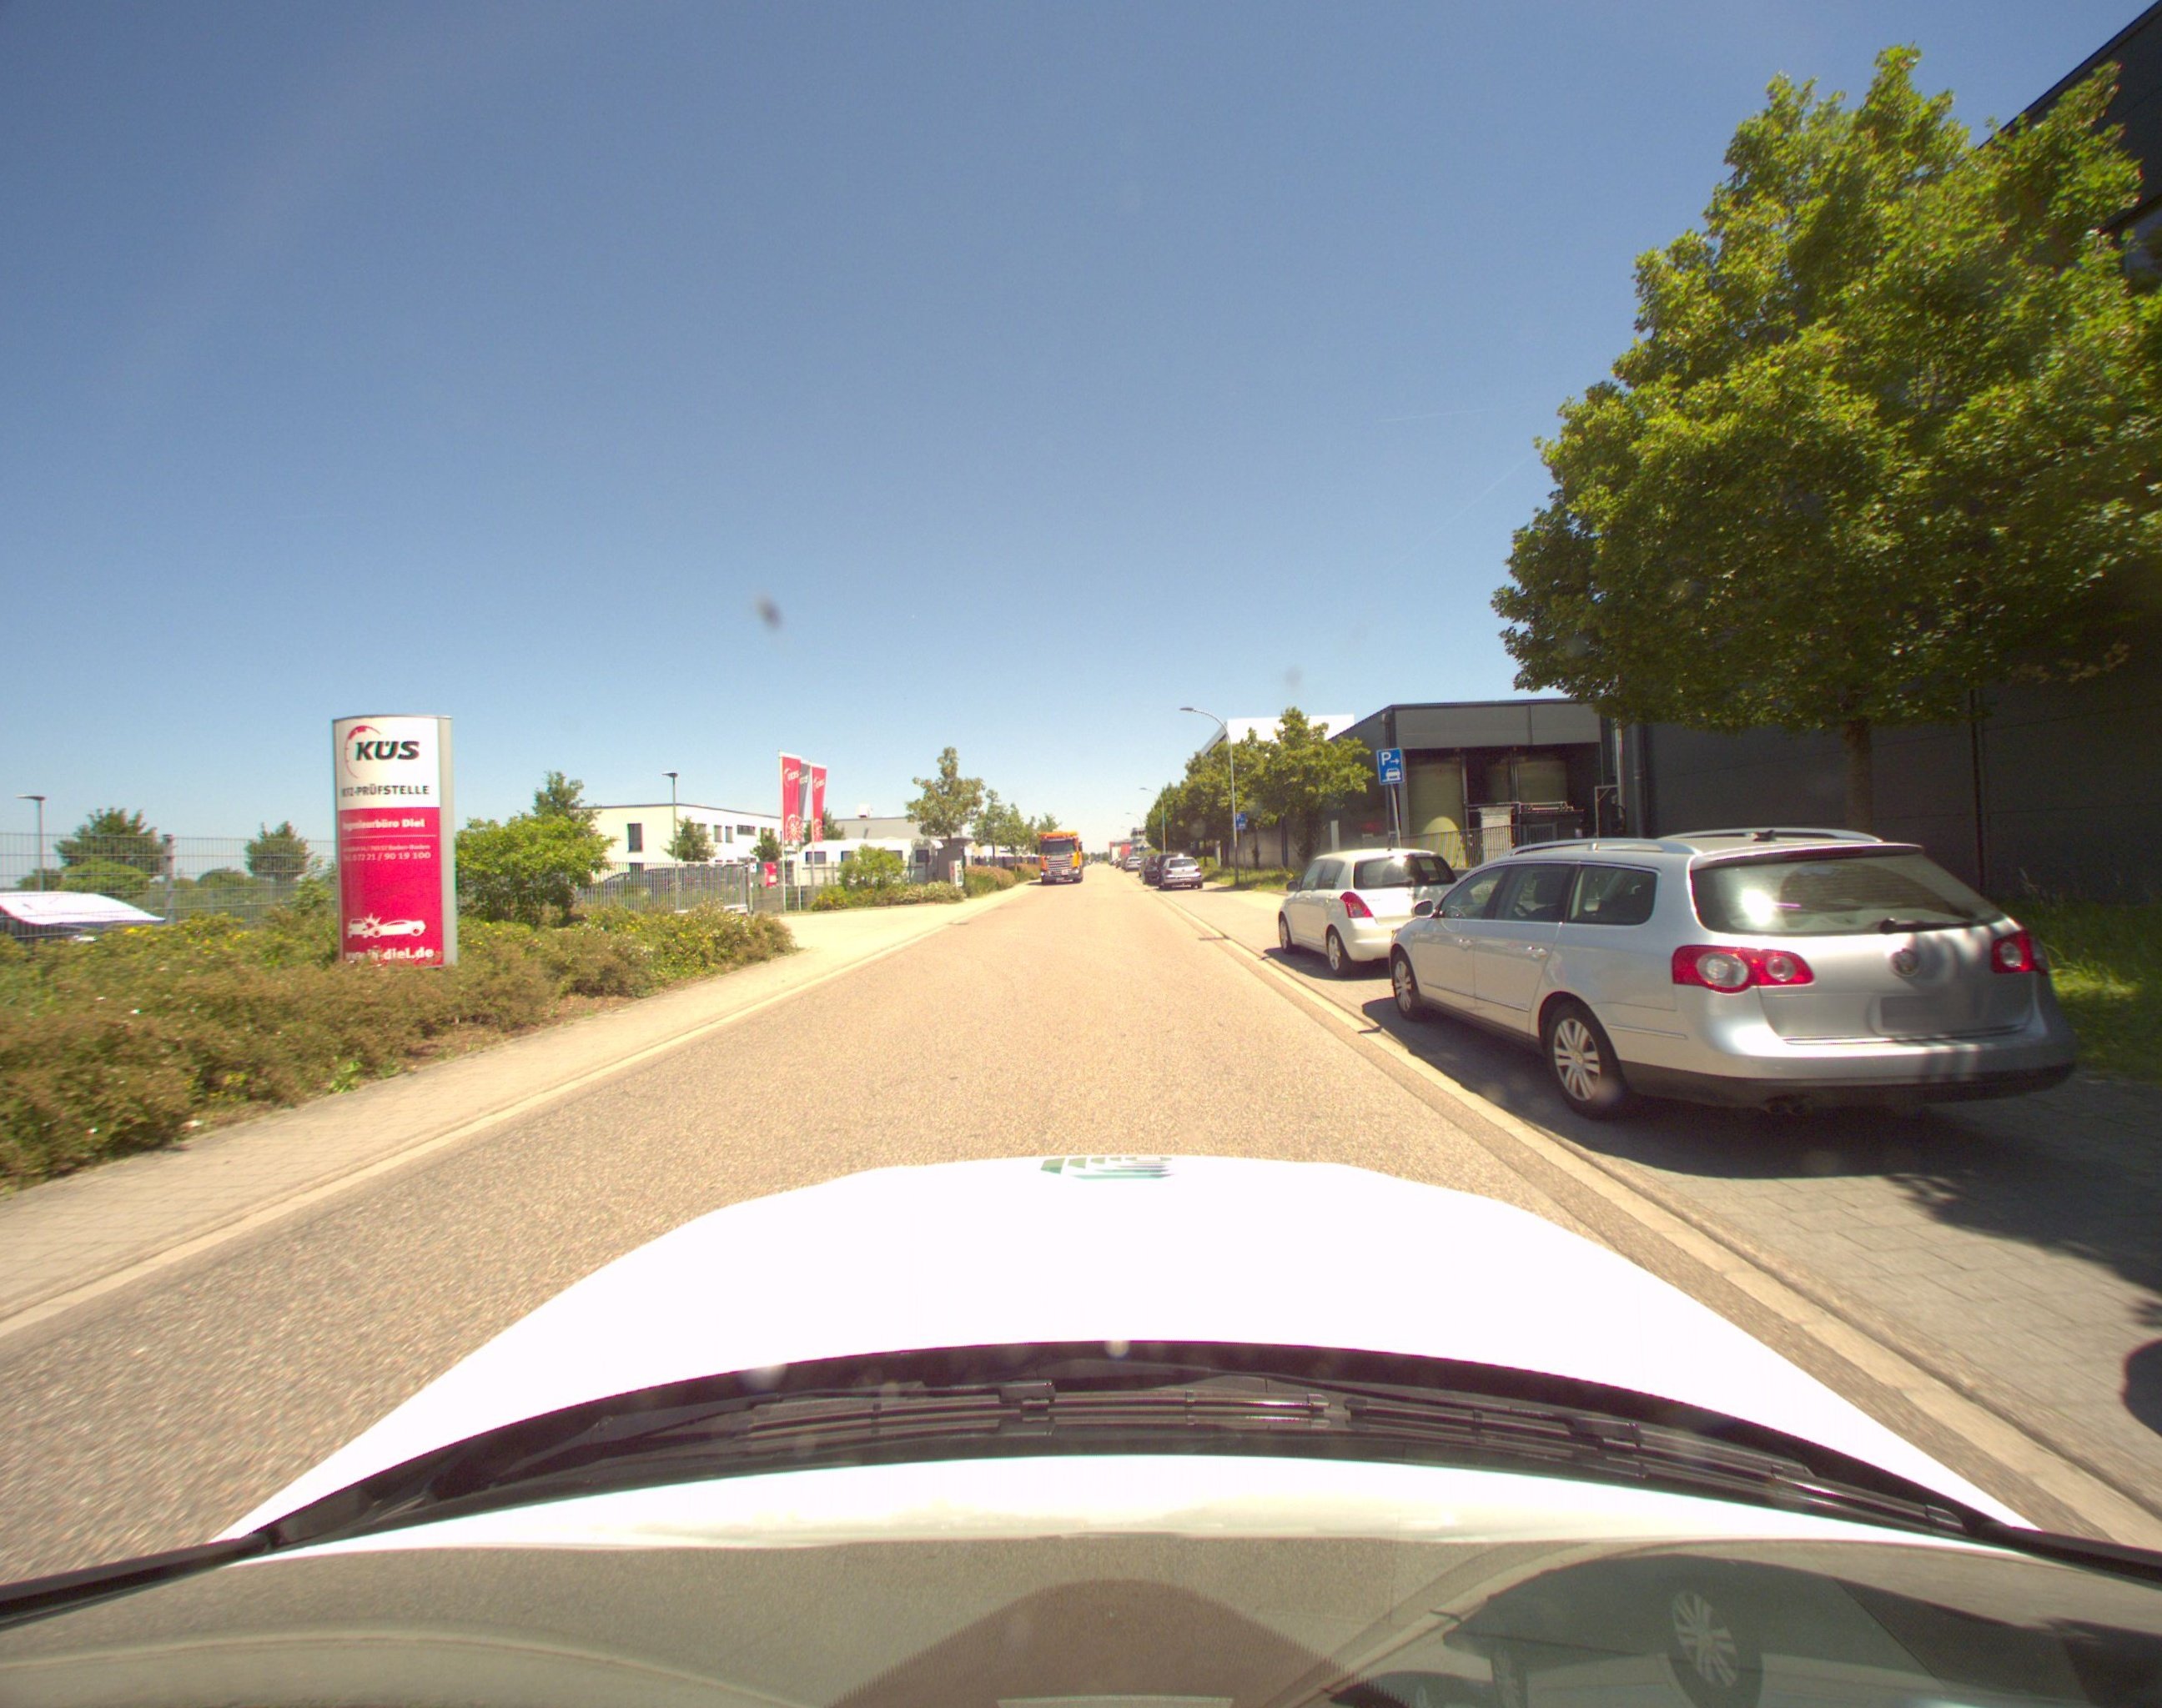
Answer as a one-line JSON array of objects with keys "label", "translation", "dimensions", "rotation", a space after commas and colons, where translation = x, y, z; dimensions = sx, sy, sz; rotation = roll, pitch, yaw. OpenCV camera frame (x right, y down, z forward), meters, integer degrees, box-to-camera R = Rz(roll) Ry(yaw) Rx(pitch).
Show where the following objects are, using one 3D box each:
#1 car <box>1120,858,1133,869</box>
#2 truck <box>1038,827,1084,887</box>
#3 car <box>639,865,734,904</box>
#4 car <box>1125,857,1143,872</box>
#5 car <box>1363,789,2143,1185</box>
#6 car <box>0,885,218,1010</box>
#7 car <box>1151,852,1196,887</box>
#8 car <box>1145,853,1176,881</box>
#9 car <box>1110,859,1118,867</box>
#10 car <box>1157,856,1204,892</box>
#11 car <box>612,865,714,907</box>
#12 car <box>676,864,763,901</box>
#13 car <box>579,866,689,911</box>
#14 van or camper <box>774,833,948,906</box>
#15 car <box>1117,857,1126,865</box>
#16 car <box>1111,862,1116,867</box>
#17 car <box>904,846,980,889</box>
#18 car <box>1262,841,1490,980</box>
[{"label": "car", "translation": [5.982, 1.223, 106.891], "dimensions": [1.490, 1.409, 3.501], "rotation": [-3, 0, 1]}, {"label": "truck", "translation": [-1.234, 0.164, 54.357], "dimensions": [2.440, 3.513, 8.275], "rotation": [-4, 0, 1]}, {"label": "car", "translation": [-20.716, 1.591, 42.896], "dimensions": [3.973, 1.816, 1.917], "rotation": [-3, 0, 0]}, {"label": "car", "translation": [5.436, 1.099, 83.717], "dimensions": [1.579, 1.409, 3.501], "rotation": [-3, 0, 1]}, {"label": "car", "translation": [3.574, 0.582, 5.655], "dimensions": [1.741, 1.562, 4.508], "rotation": [-3, -1, 2]}, {"label": "car", "translation": [-14.960, 1.322, 11.587], "dimensions": [3.493, 1.552, 1.556], "rotation": [-2, 0, -4]}, {"label": "car", "translation": [4.805, 0.782, 42.737], "dimensions": [1.674, 1.686, 3.996], "rotation": [-3, 0, -3]}, {"label": "car", "translation": [5.279, 0.824, 54.482], "dimensions": [1.715, 1.694, 3.986], "rotation": [-3, 0, 2]}, {"label": "car", "translation": [6.729, 1.786, 163.952], "dimensions": [1.490, 1.409, 3.501], "rotation": [-3, 0, 1]}, {"label": "car", "translation": [4.427, 0.872, 36.687], "dimensions": [1.712, 1.450, 3.647], "rotation": [-3, 0, 1]}, {"label": "car", "translation": [-20.759, 1.590, 40.569], "dimensions": [3.973, 1.816, 1.917], "rotation": [-3, 0, 0]}, {"label": "car", "translation": [-20.365, 1.574, 45.994], "dimensions": [3.973, 1.816, 1.917], "rotation": [-3, 0, 0]}, {"label": "car", "translation": [-20.871, 1.598, 38.122], "dimensions": [3.973, 1.816, 1.917], "rotation": [-3, 0, 0]}, {"label": "van or camper", "translation": [-10.332, 0.713, 38.798], "dimensions": [7.360, 3.037, 2.790], "rotation": [-3, 0, 0]}, {"label": "car", "translation": [7.315, 1.225, 148.033], "dimensions": [1.490, 1.409, 3.501], "rotation": [-3, 0, 1]}, {"label": "car", "translation": [10.425, 3.450, 259.057], "dimensions": [1.490, 1.409, 3.501], "rotation": [-3, 0, 1]}, {"label": "car", "translation": [-9.363, 0.886, 55.097], "dimensions": [4.704, 2.586, 1.998], "rotation": [-3, 0, -3]}, {"label": "car", "translation": [3.775, 0.637, 11.120], "dimensions": [1.631, 1.469, 3.744], "rotation": [-4, 0, -1]}]
